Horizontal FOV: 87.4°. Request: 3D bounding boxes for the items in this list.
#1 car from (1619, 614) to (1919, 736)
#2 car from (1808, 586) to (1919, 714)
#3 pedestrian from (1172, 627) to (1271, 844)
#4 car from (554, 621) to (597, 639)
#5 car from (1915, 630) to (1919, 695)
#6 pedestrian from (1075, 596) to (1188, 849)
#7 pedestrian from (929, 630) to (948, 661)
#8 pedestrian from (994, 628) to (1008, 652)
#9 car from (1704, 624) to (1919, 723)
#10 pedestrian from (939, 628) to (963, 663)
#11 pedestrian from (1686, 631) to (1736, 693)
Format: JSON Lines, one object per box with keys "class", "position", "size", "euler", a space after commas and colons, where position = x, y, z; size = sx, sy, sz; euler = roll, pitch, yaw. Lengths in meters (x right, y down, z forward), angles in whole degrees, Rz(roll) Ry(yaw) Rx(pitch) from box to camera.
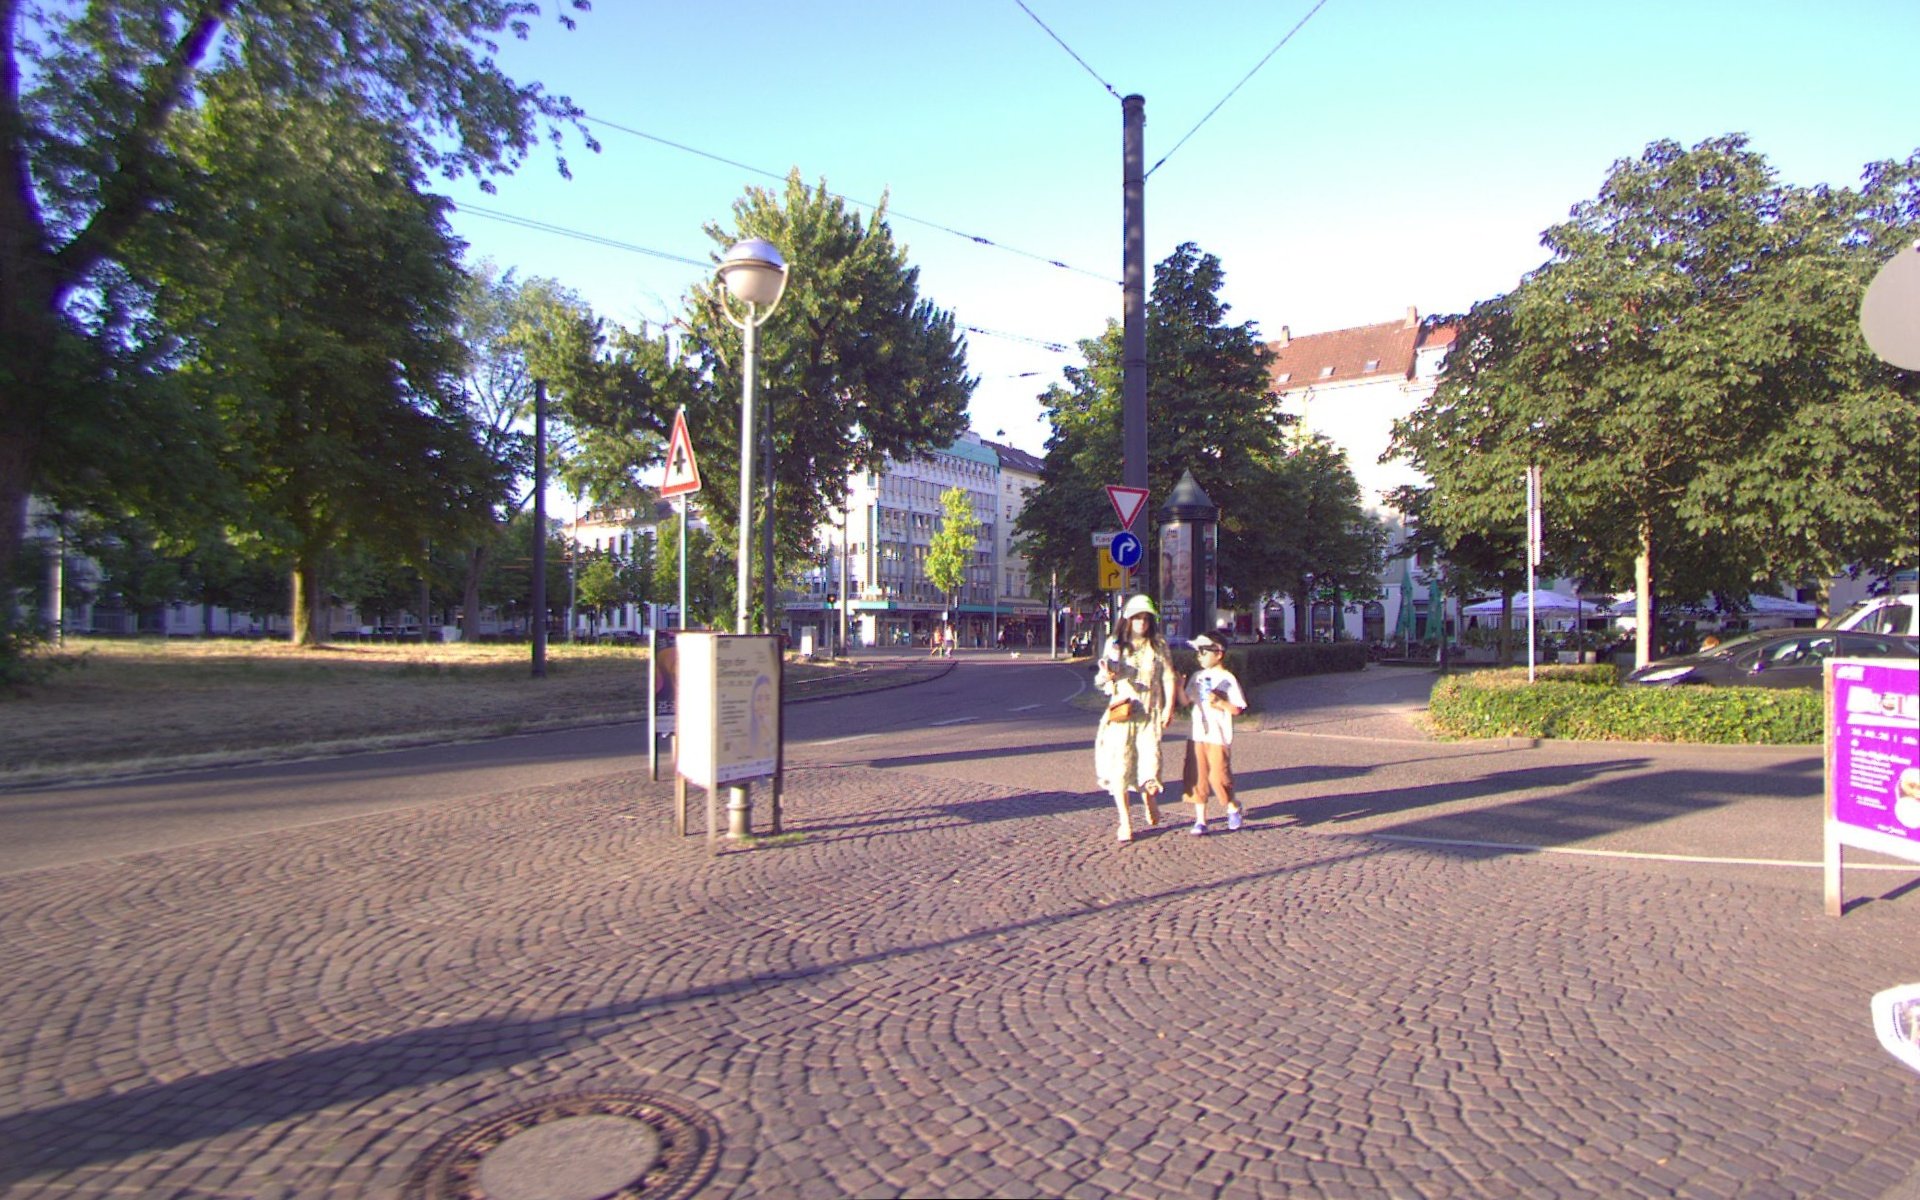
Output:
{"class": "car", "position": [12.424, 1.063, 15.232], "size": [3.811, 1.603, 1.801], "euler": [1, 0, 25]}
{"class": "car", "position": [18.555, 0.917, 18.248], "size": [4.535, 2.281, 2.197], "euler": [1, -1, 33]}
{"class": "pedestrian", "position": [1.762, 0.885, 6.823], "size": [0.553, 1.382, 0.614], "euler": [1, 0, 6]}
{"class": "car", "position": [-36.931, 2.888, 96.443], "size": [3.935, 1.728, 1.993], "euler": [-1, -2, 36]}
{"class": "car", "position": [23.983, 1.479, 22.069], "size": [3.922, 1.512, 1.849], "euler": [1, 0, 22]}
{"class": "pedestrian", "position": [1.117, 0.774, 6.681], "size": [0.685, 1.580, 0.695], "euler": [1, 0, 6]}
{"class": "pedestrian", "position": [-1.214, 2.584, 57.385], "size": [0.814, 1.722, 0.740], "euler": [-1, 1, -30]}
{"class": "pedestrian", "position": [3.552, 3.436, 86.484], "size": [0.879, 1.947, 0.876], "euler": [0, 1, 36]}
{"class": "car", "position": [15.205, 1.202, 16.911], "size": [3.922, 1.506, 1.833], "euler": [0, 0, 21]}
{"class": "pedestrian", "position": [-0.507, 2.541, 56.280], "size": [0.984, 1.865, 0.857], "euler": [-1, 1, -30]}
{"class": "pedestrian", "position": [16.473, 1.344, 22.050], "size": [0.734, 1.294, 0.661], "euler": [0, 0, 23]}
